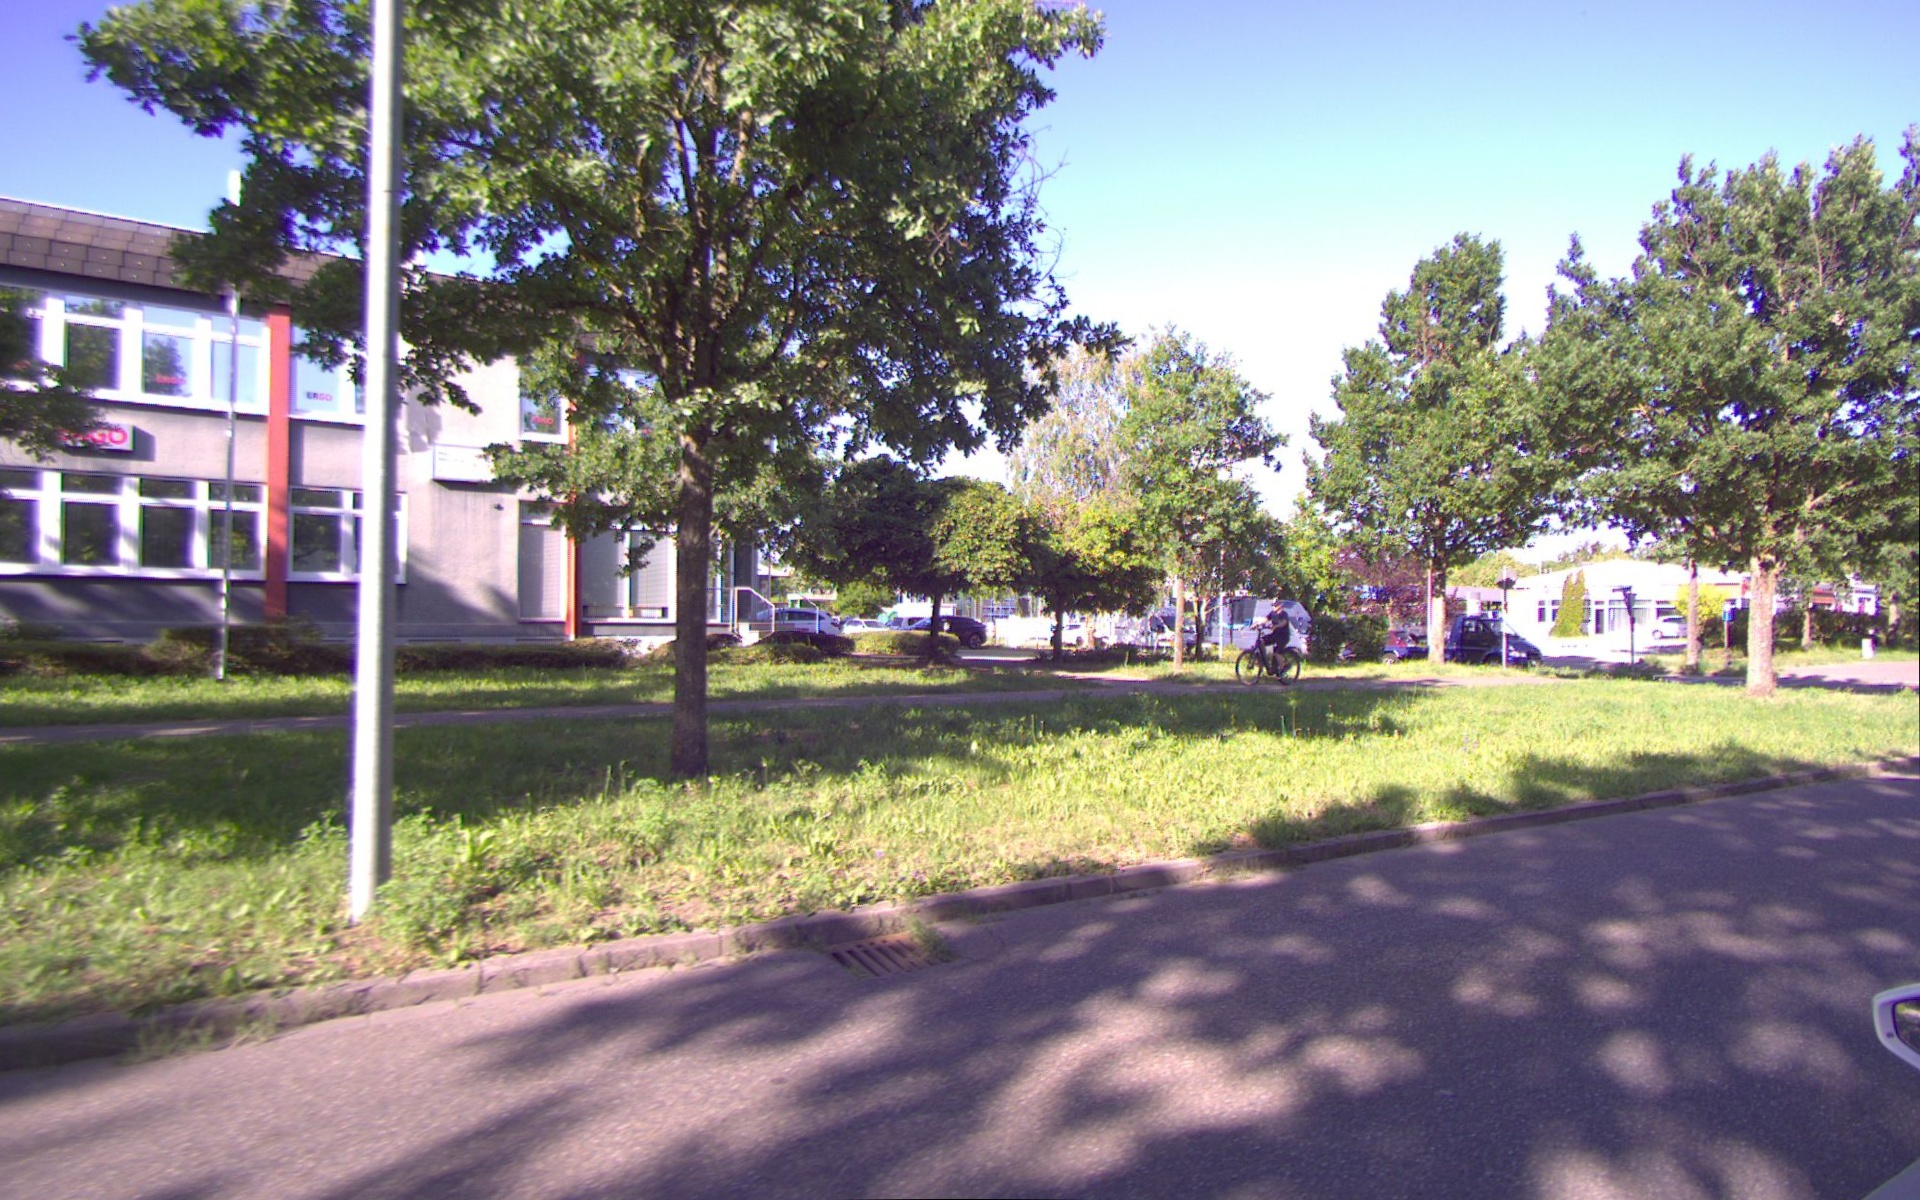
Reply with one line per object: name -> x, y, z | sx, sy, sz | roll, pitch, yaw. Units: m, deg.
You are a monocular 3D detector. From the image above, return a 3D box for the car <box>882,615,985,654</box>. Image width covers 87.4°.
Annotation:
car -> -1.177, 1.573, 45.816 | 4.254, 1.514, 1.982 | 4, -1, -33

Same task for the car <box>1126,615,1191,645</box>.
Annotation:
car -> 13.356, 1.994, 67.689 | 1.867, 1.910, 4.210 | 1, -1, -35

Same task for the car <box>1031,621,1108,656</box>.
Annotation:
car -> 7.411, 2.572, 68.530 | 2.279, 2.132, 5.307 | 2, 0, -35

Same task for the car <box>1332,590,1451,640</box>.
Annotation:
car -> 25.487, 0.825, 59.568 | 2.279, 2.738, 6.117 | 2, 0, -35

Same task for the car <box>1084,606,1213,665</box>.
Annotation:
car -> 8.985, 1.650, 48.581 | 2.279, 2.549, 6.295 | 2, 0, -35

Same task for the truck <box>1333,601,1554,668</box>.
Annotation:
truck -> 17.388, 1.172, 36.594 | 2.121, 2.077, 7.059 | 2, 0, -37

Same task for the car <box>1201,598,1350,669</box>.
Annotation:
car -> 13.262, 1.339, 42.597 | 2.279, 2.738, 5.822 | 2, 0, -35

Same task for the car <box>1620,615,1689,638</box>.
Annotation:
car -> 47.577, 1.803, 68.877 | 1.578, 1.517, 3.570 | 2, -1, -37

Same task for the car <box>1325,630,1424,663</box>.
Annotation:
car -> 20.248, 2.255, 49.188 | 1.807, 1.501, 4.162 | 0, -1, -35

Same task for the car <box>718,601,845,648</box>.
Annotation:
car -> -6.698, 0.922, 37.789 | 4.254, 1.514, 1.982 | 4, -1, -33

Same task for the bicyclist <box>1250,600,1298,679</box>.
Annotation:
bicyclist -> 6.709, 0.831, 21.483 | 0.651, 1.650, 0.661 | 2, 0, -30

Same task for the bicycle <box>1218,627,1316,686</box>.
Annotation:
bicycle -> 6.528, 1.203, 21.332 | 2.307, 1.177, 0.548 | 2, 0, -30
